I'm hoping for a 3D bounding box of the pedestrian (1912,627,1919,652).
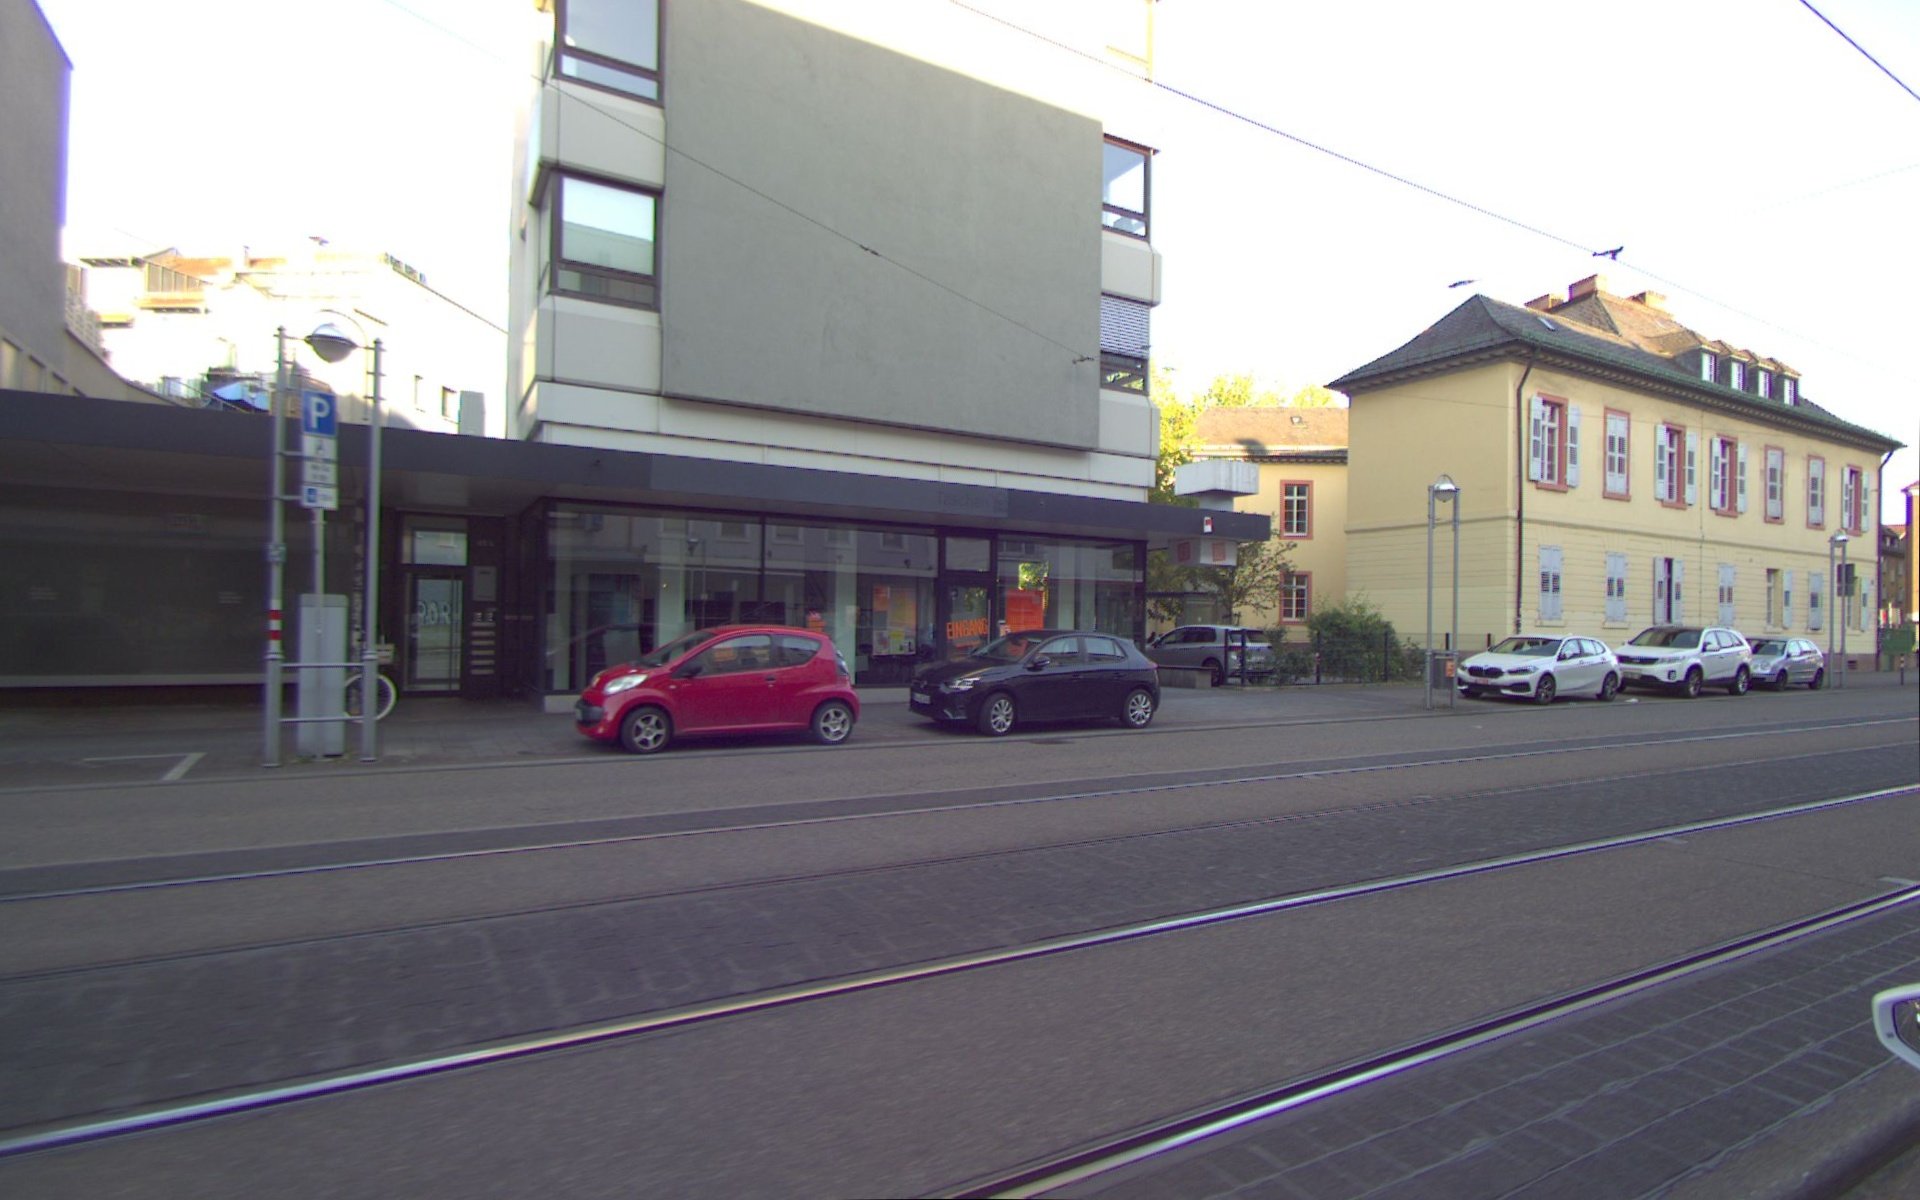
[{"bbox_3d":[75.651,3.124,79.380,0.557,1.893,0.499,1,1,-36],"label":"pedestrian"}]

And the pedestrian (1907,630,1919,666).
[{"bbox_3d":[42.732,2.133,44.758,0.722,1.605,0.951,0,-1,39],"label":"pedestrian"}]

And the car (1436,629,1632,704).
[{"bbox_3d":[12.821,1.422,22.399,4.378,1.532,1.805,1,-2,-29],"label":"car"}]

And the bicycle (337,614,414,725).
[{"bbox_3d":[-8.248,0.932,14.127,0.825,1.444,1.957,1,-2,-33],"label":"bicycle"}]

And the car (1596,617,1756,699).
[{"bbox_3d":[18.078,1.413,25.302,4.451,1.809,1.801,2,1,-34],"label":"car"}]

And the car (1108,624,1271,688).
[{"bbox_3d":[5.812,1.385,25.848,1.826,1.486,3.964,1,-2,-33],"label":"car"}]

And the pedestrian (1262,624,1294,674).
[{"bbox_3d":[10.437,1.600,32.961,0.668,1.593,0.741,1,-1,-31],"label":"pedestrian"}]

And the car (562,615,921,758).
[{"bbox_3d":[-2.730,1.000,12.822,4.165,1.532,1.677,1,0,-30],"label":"car"}]

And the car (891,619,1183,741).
[{"bbox_3d":[1.212,1.122,15.163,4.165,1.532,1.677,1,1,-30],"label":"car"}]

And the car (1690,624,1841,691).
[{"bbox_3d":[22.779,1.581,28.380,4.163,1.639,1.804,1,3,-29],"label":"car"}]
